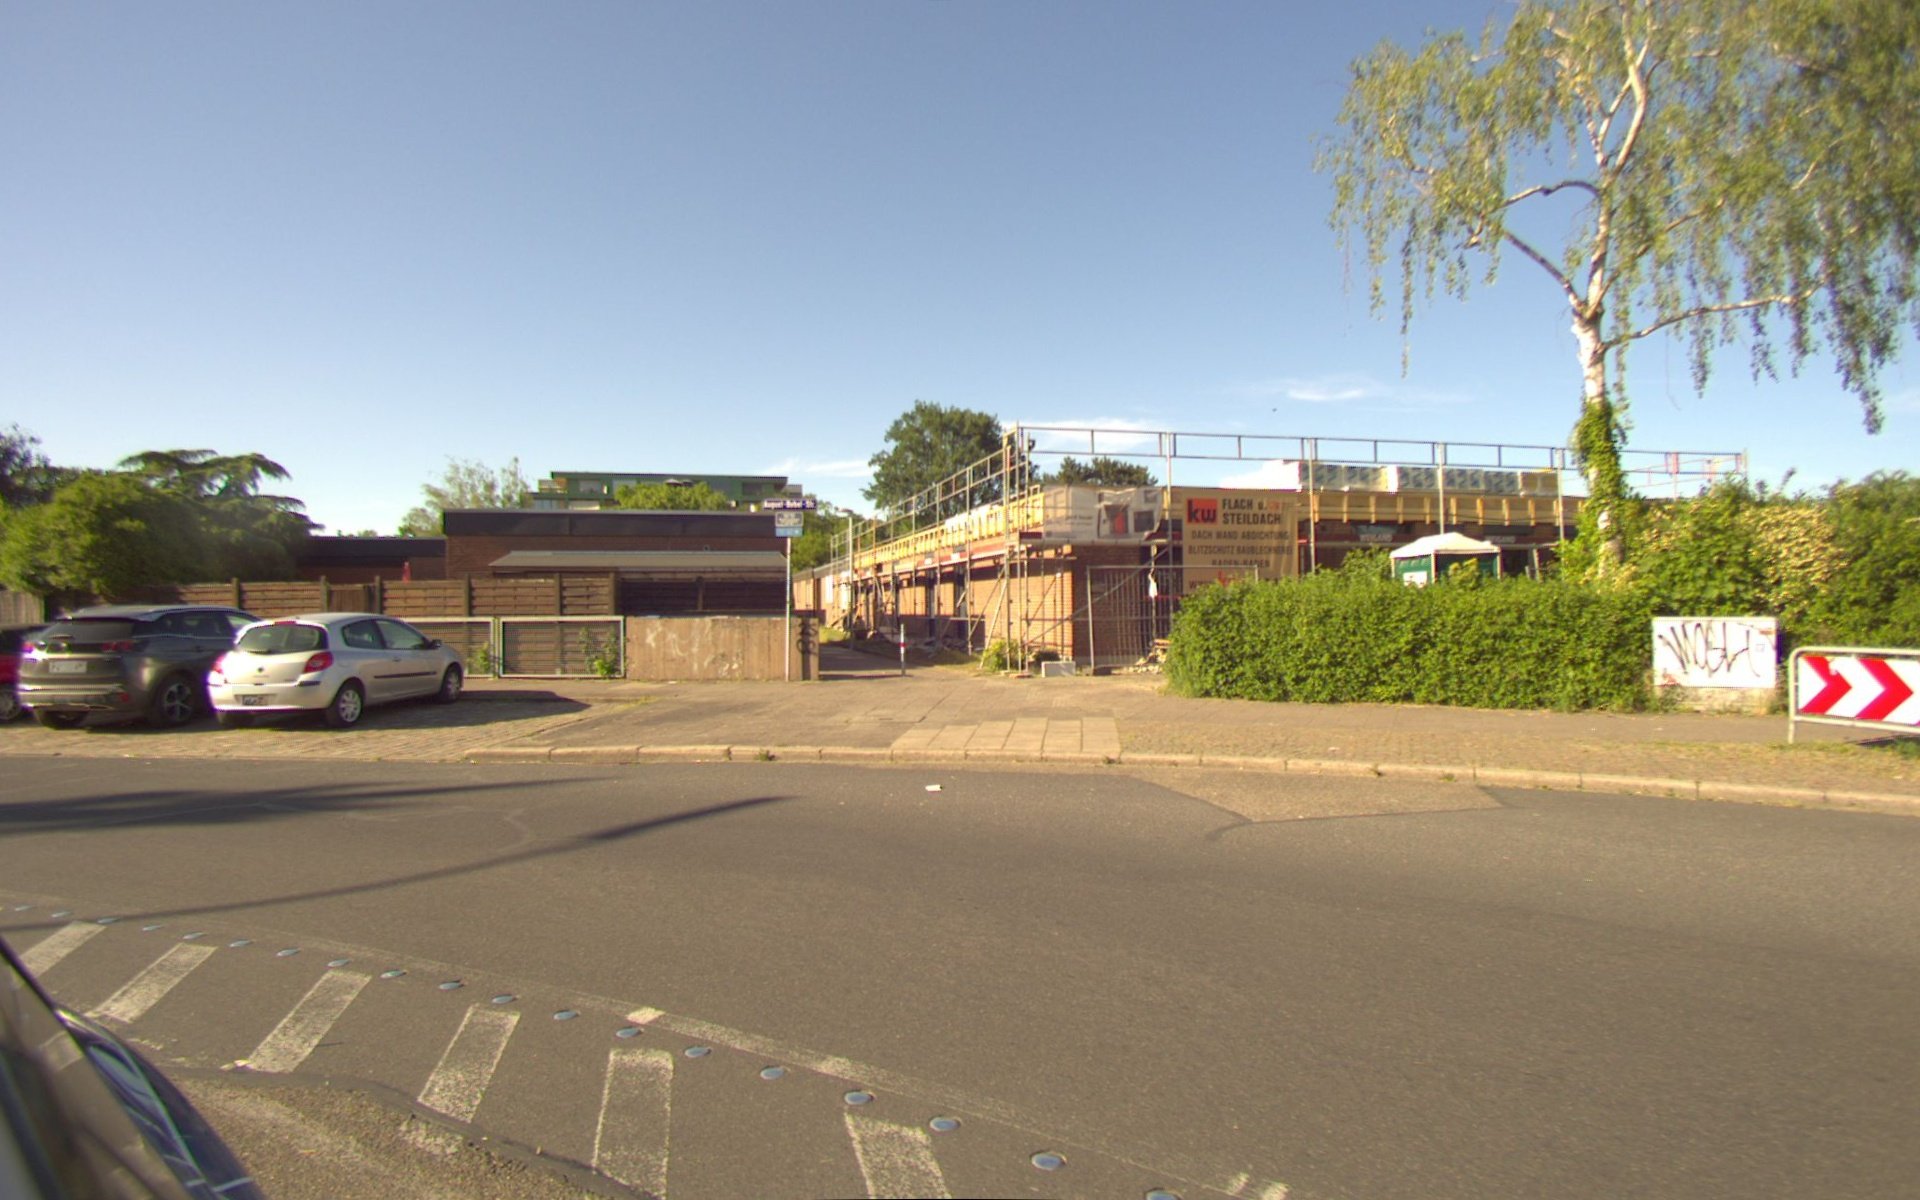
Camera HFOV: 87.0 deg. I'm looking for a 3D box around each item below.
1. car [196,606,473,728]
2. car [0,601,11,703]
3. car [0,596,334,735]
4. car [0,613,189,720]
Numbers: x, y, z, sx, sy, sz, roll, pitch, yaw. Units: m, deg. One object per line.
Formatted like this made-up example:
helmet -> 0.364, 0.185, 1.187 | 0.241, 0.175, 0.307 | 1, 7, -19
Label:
car -> -8.801, 0.859, 14.635 | 1.612, 1.469, 3.696 | -1, 1, 2
car -> -16.495, 0.900, 14.724 | 1.714, 1.619, 3.614 | -1, 2, 9
car -> -11.344, 0.821, 14.781 | 1.794, 1.624, 3.998 | -1, 2, 2
car -> -14.020, 0.965, 15.257 | 1.714, 1.354, 3.614 | -1, 2, 9
